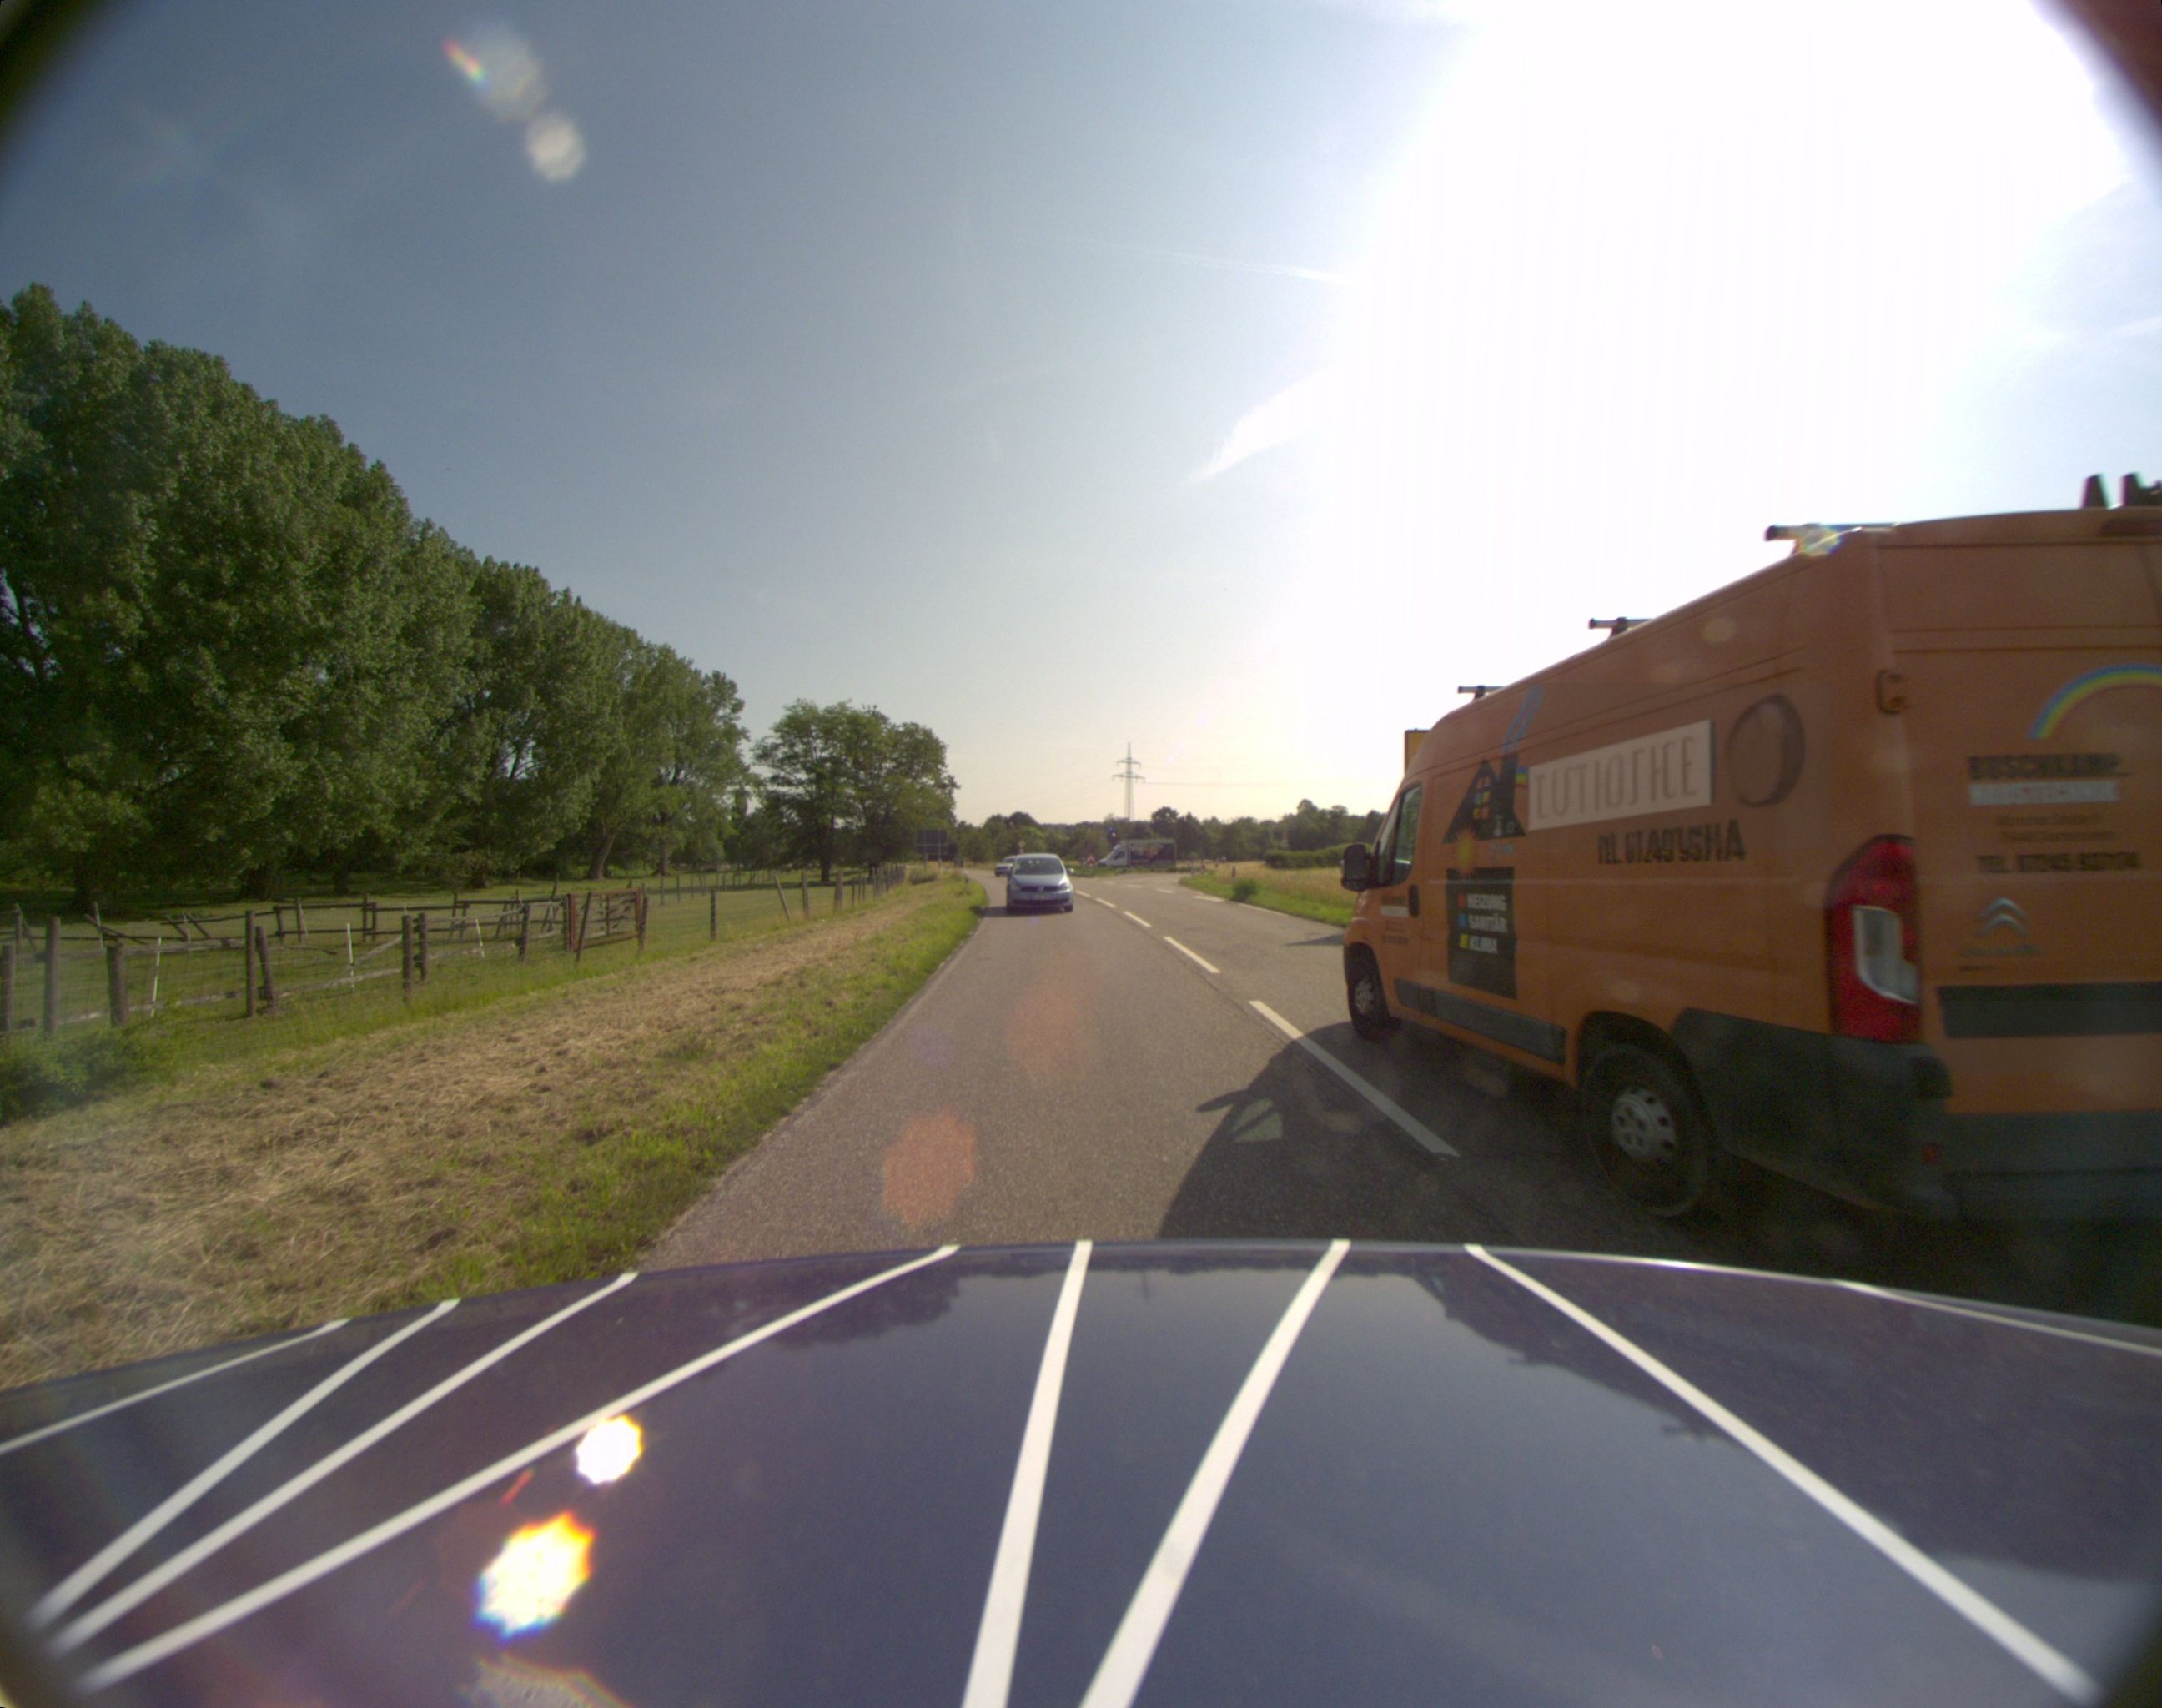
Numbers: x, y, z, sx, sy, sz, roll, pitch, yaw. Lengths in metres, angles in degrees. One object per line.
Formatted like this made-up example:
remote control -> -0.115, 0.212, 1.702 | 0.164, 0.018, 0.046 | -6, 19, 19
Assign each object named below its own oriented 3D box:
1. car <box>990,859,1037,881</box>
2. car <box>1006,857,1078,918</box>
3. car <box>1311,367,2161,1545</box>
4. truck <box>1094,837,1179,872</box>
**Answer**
car -> -5.268, 1.229, 60.073 | 1.995, 1.570, 3.915 | -2, 0, 24
car -> -1.183, 0.857, 21.310 | 1.719, 1.495, 4.091 | -2, 0, -6
car -> 3.204, 0.229, 4.368 | 2.129, 2.680, 5.268 | -1, 0, 0
truck -> 5.086, 0.058, 70.195 | 7.368, 3.027, 2.581 | -1, 0, -14
